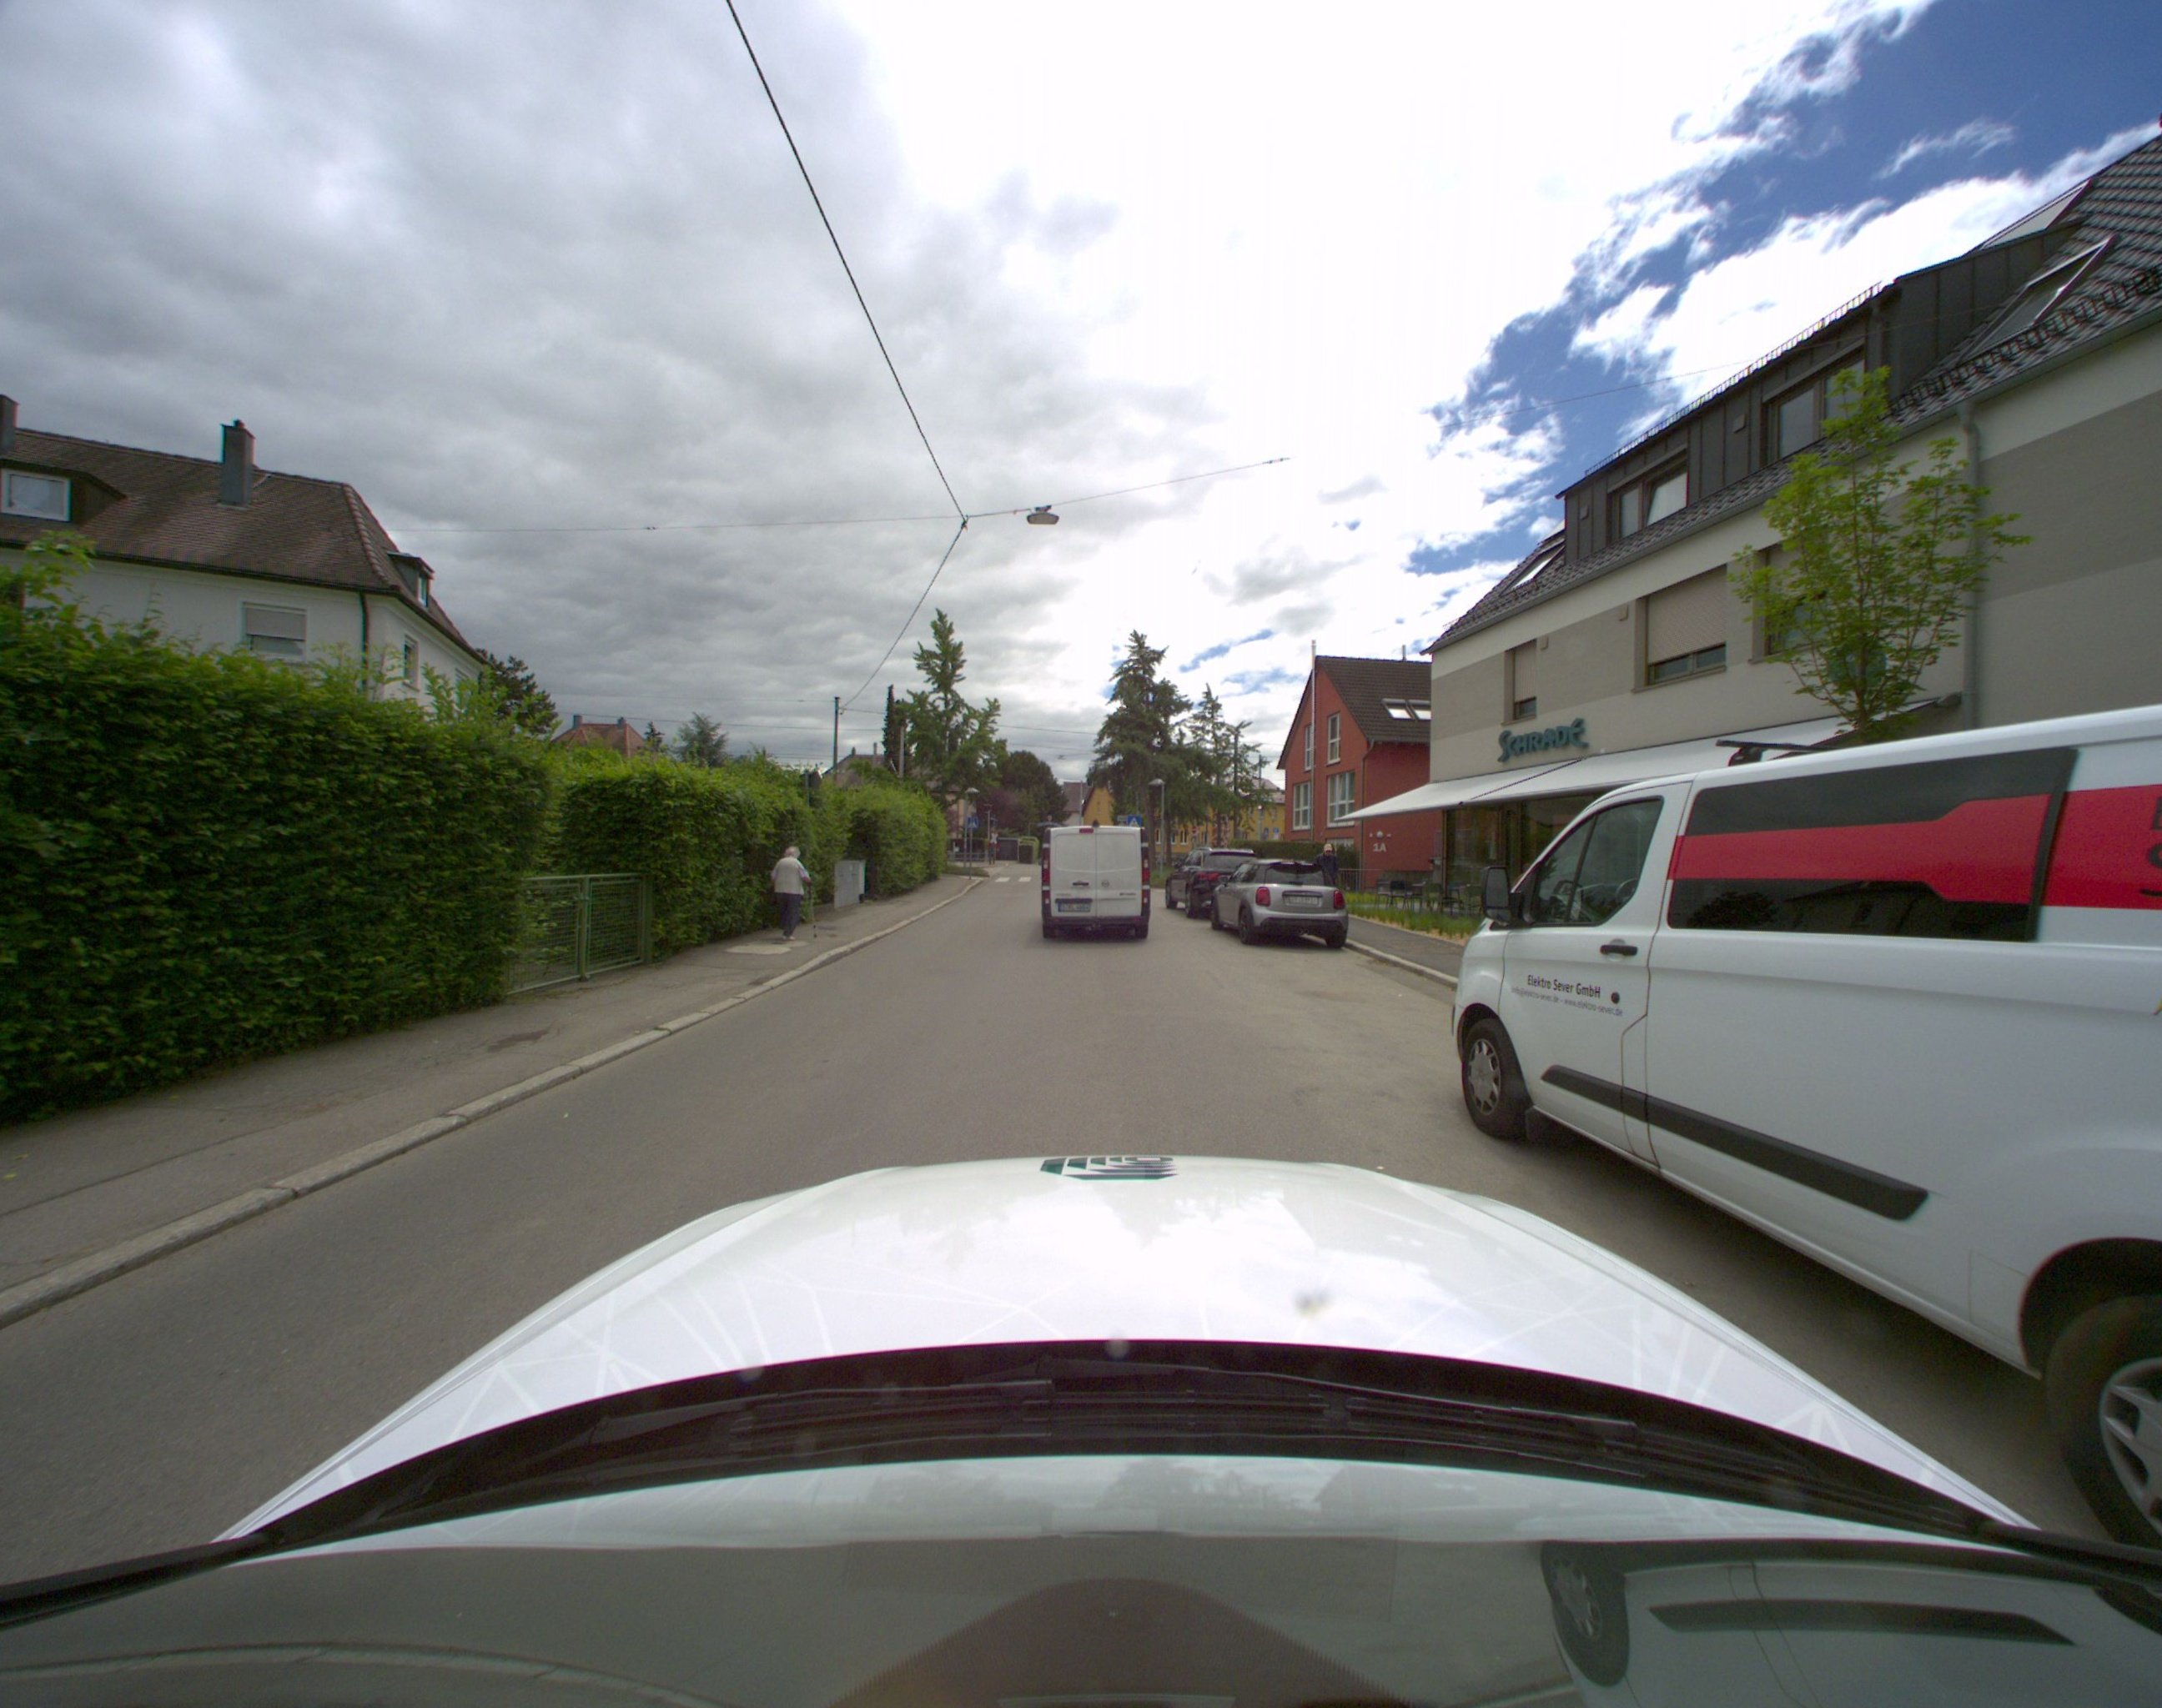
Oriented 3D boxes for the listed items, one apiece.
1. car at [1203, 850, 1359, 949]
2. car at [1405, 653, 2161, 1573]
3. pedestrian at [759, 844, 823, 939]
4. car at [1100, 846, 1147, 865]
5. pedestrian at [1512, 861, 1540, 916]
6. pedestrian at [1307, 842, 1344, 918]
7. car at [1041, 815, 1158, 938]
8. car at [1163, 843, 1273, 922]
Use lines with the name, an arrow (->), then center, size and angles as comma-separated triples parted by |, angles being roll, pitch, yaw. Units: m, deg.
car -> 3.467, 0.740, 14.813 | 1.737, 1.494, 3.651 | 3, -1, -3
car -> 3.231, 0.584, 3.084 | 1.952, 1.916, 4.899 | 3, -1, -1
pedestrian -> -4.679, 0.604, 13.152 | 0.879, 1.485, 0.452 | 3, -1, -20
car -> 4.017, 0.175, 76.241 | 3.945, 1.537, 1.901 | 3, -1, -32
pedestrian -> 9.674, 0.751, 17.716 | 0.420, 1.182, 0.324 | 1, -1, -2
pedestrian -> 5.358, 0.561, 17.878 | 0.588, 1.607, 0.529 | 3, -1, 1
car -> 0.246, 0.357, 15.521 | 1.910, 2.002, 4.435 | 0, 0, -2
car -> 3.199, 0.616, 19.796 | 1.698, 1.614, 4.254 | 3, 0, -3
